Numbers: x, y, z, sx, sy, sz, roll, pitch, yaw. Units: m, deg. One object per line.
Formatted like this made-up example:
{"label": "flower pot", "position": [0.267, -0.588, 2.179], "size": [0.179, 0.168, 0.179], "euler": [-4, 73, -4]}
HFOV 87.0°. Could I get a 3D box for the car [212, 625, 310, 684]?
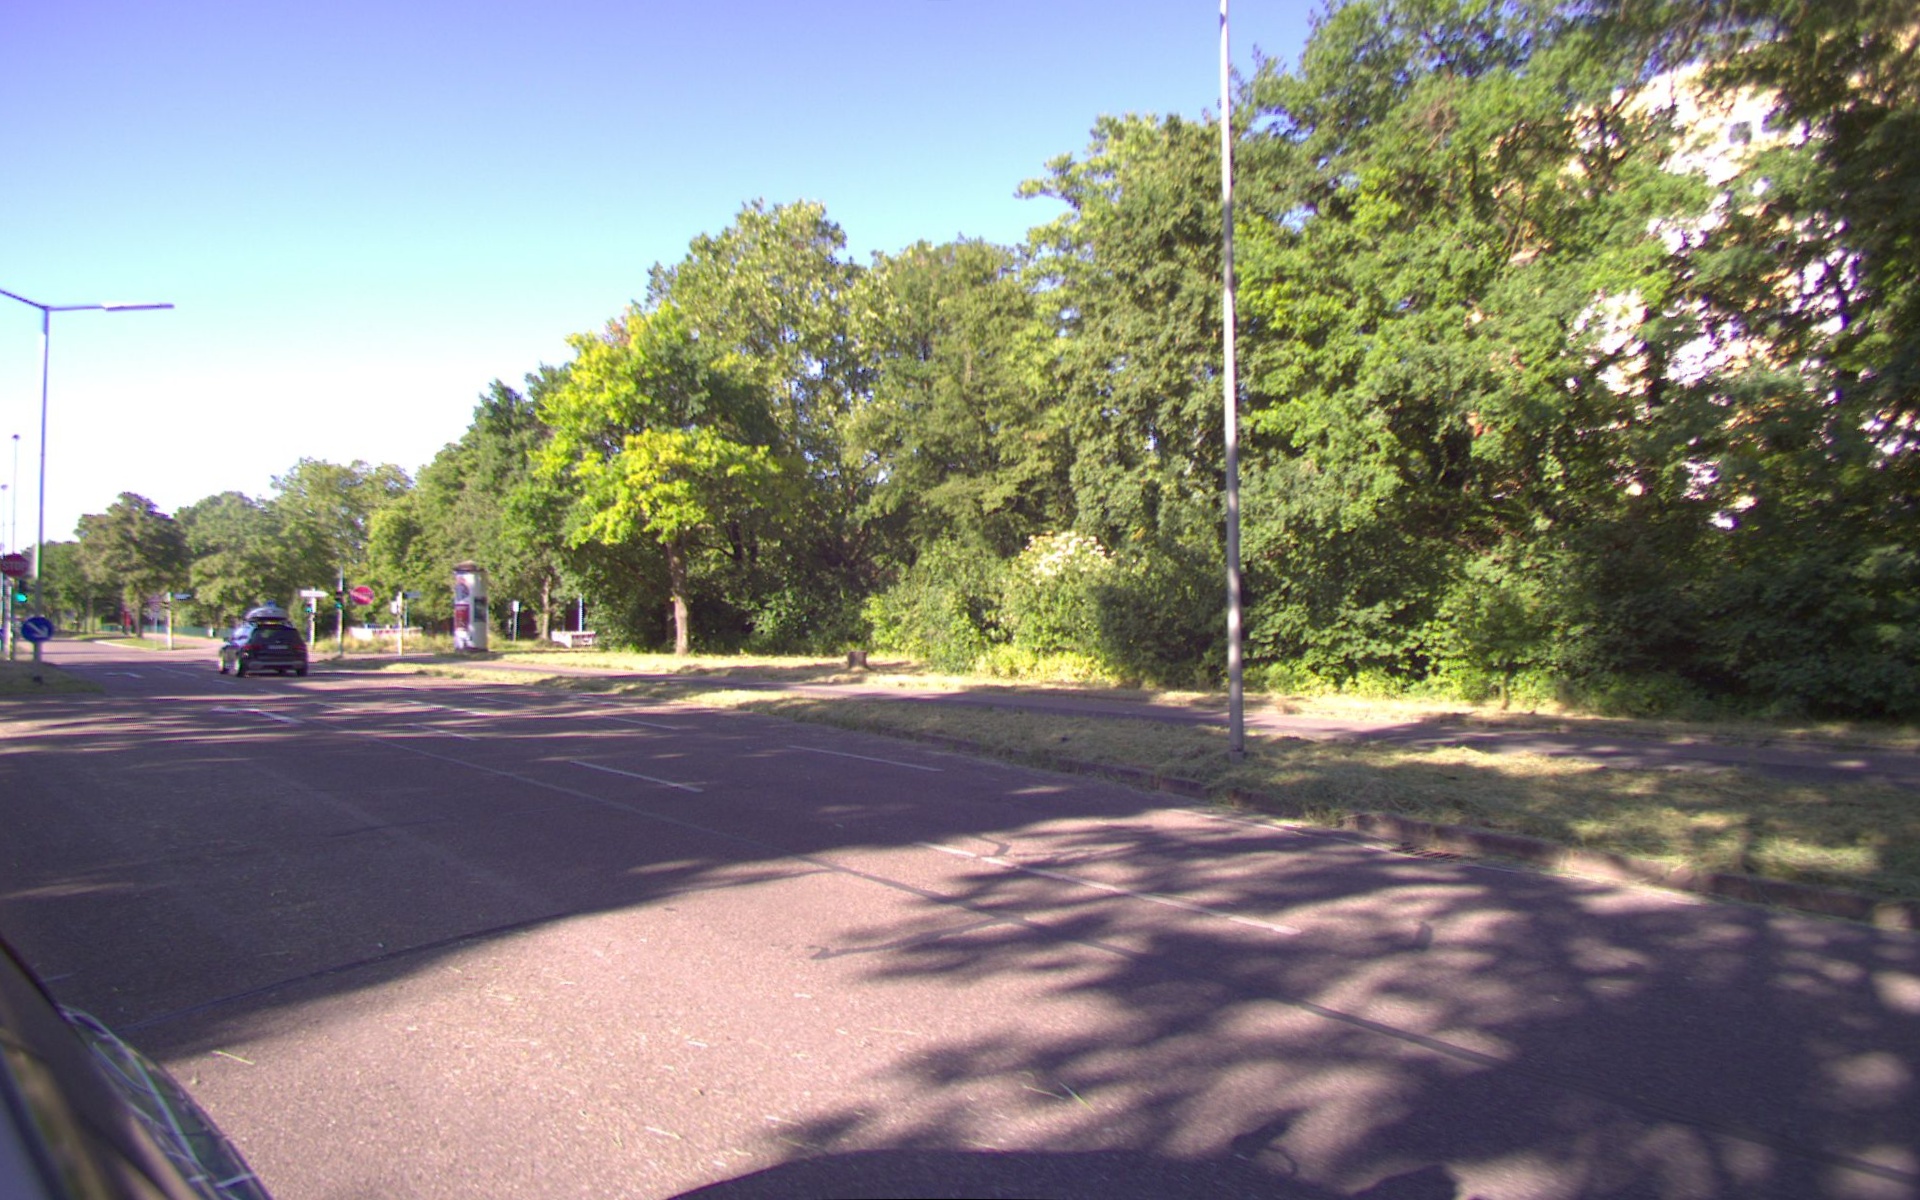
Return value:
{"label": "car", "position": [-22.215, 1.674, 32.084], "size": [1.818, 1.721, 4.508], "euler": [3, -3, -44]}
